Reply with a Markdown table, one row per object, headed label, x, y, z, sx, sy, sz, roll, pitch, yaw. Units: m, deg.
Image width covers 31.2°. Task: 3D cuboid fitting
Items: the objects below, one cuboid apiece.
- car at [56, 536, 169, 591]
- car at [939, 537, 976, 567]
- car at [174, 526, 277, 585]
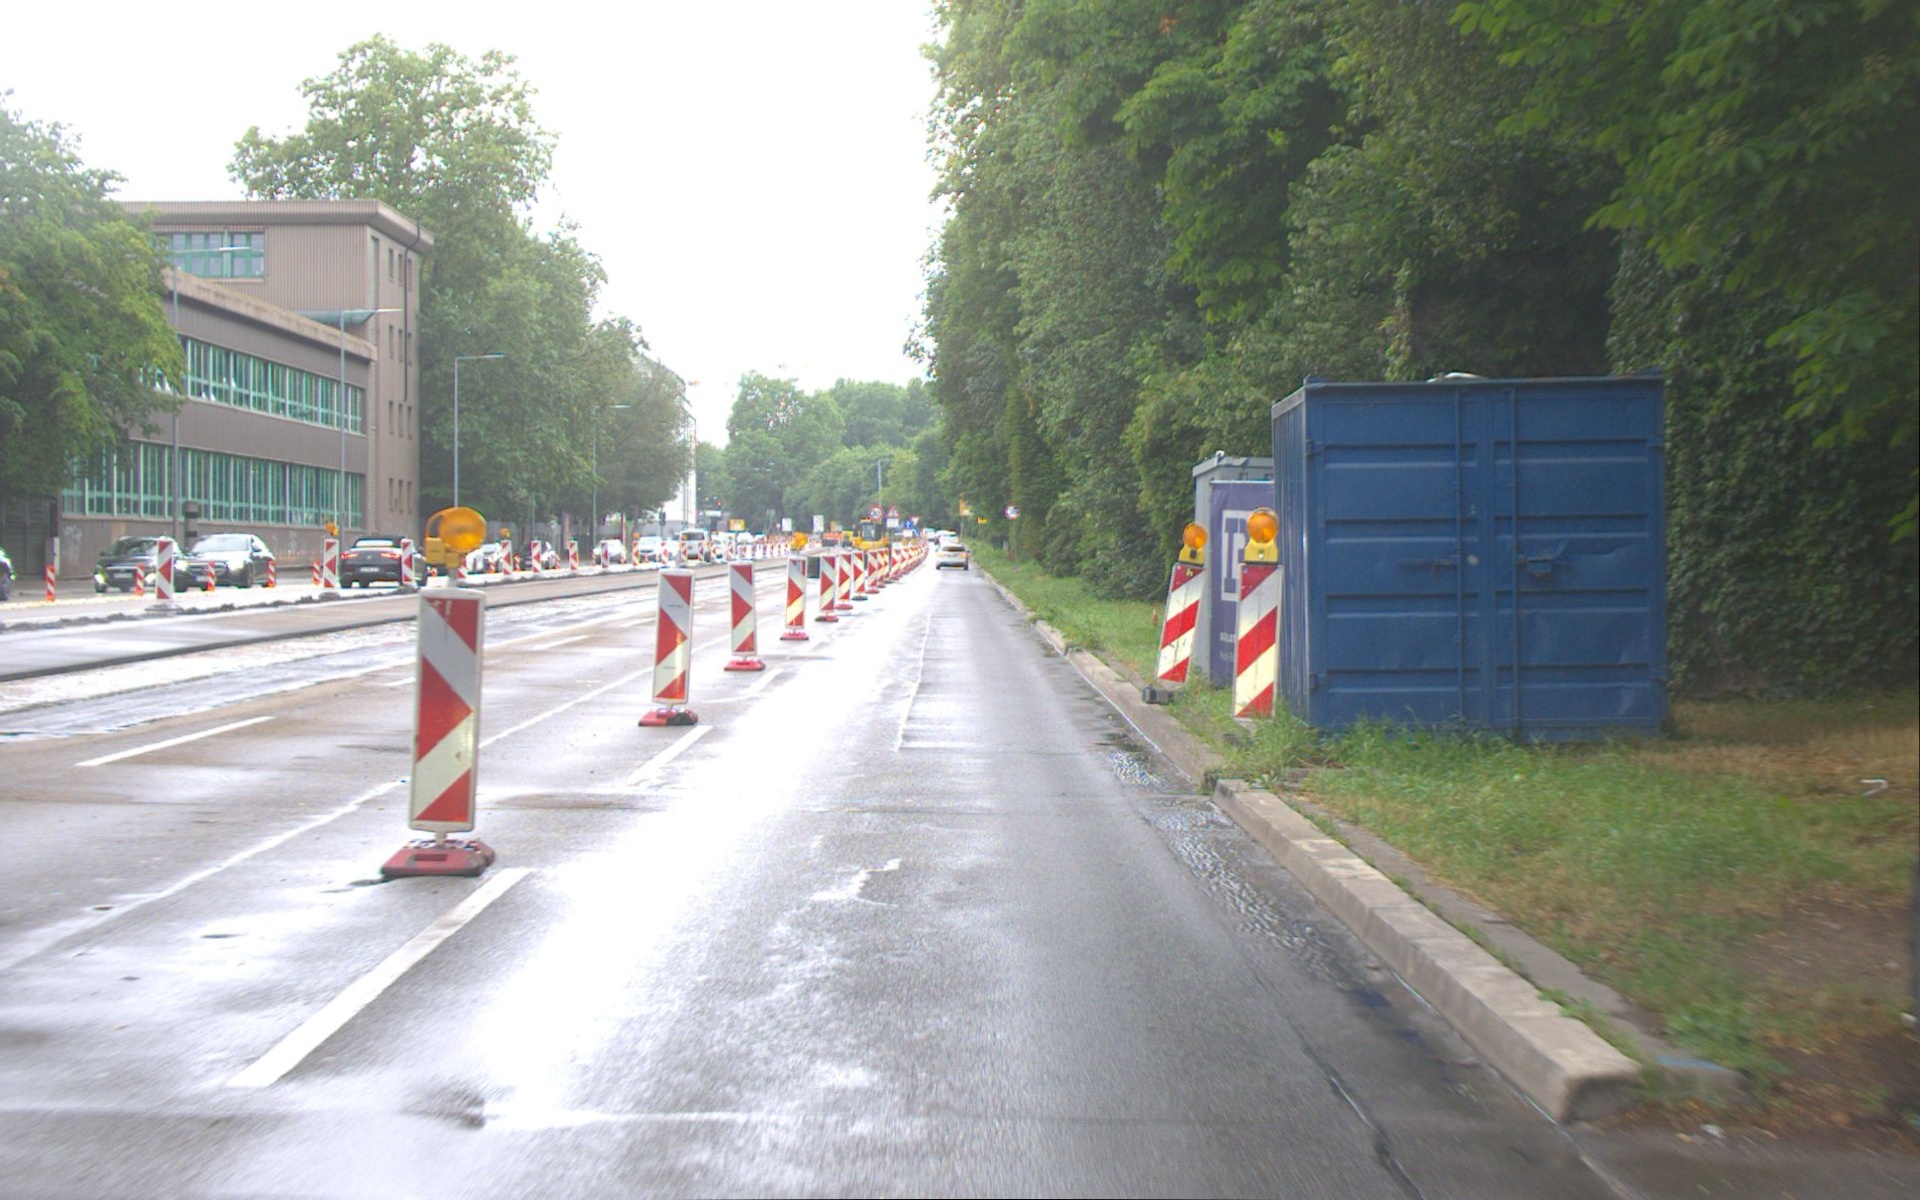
| label | x | y | z | sx | sy | sz | roll | pitch | yaw |
| --- | --- | --- | --- | --- | --- | --- | --- | --- | --- |
| car | -22.392 | -0.979 | 90.992 | 1.971 | 1.437 | 4.000 | 0 | 1 | 0 |
| car | -0.154 | -2.685 | 192.207 | 1.993 | 1.634 | 4.000 | 0 | 1 | -1 |
| car | -18.606 | -1.135 | 87.193 | 1.723 | 1.437 | 4.000 | 0 | 1 | 0 |
